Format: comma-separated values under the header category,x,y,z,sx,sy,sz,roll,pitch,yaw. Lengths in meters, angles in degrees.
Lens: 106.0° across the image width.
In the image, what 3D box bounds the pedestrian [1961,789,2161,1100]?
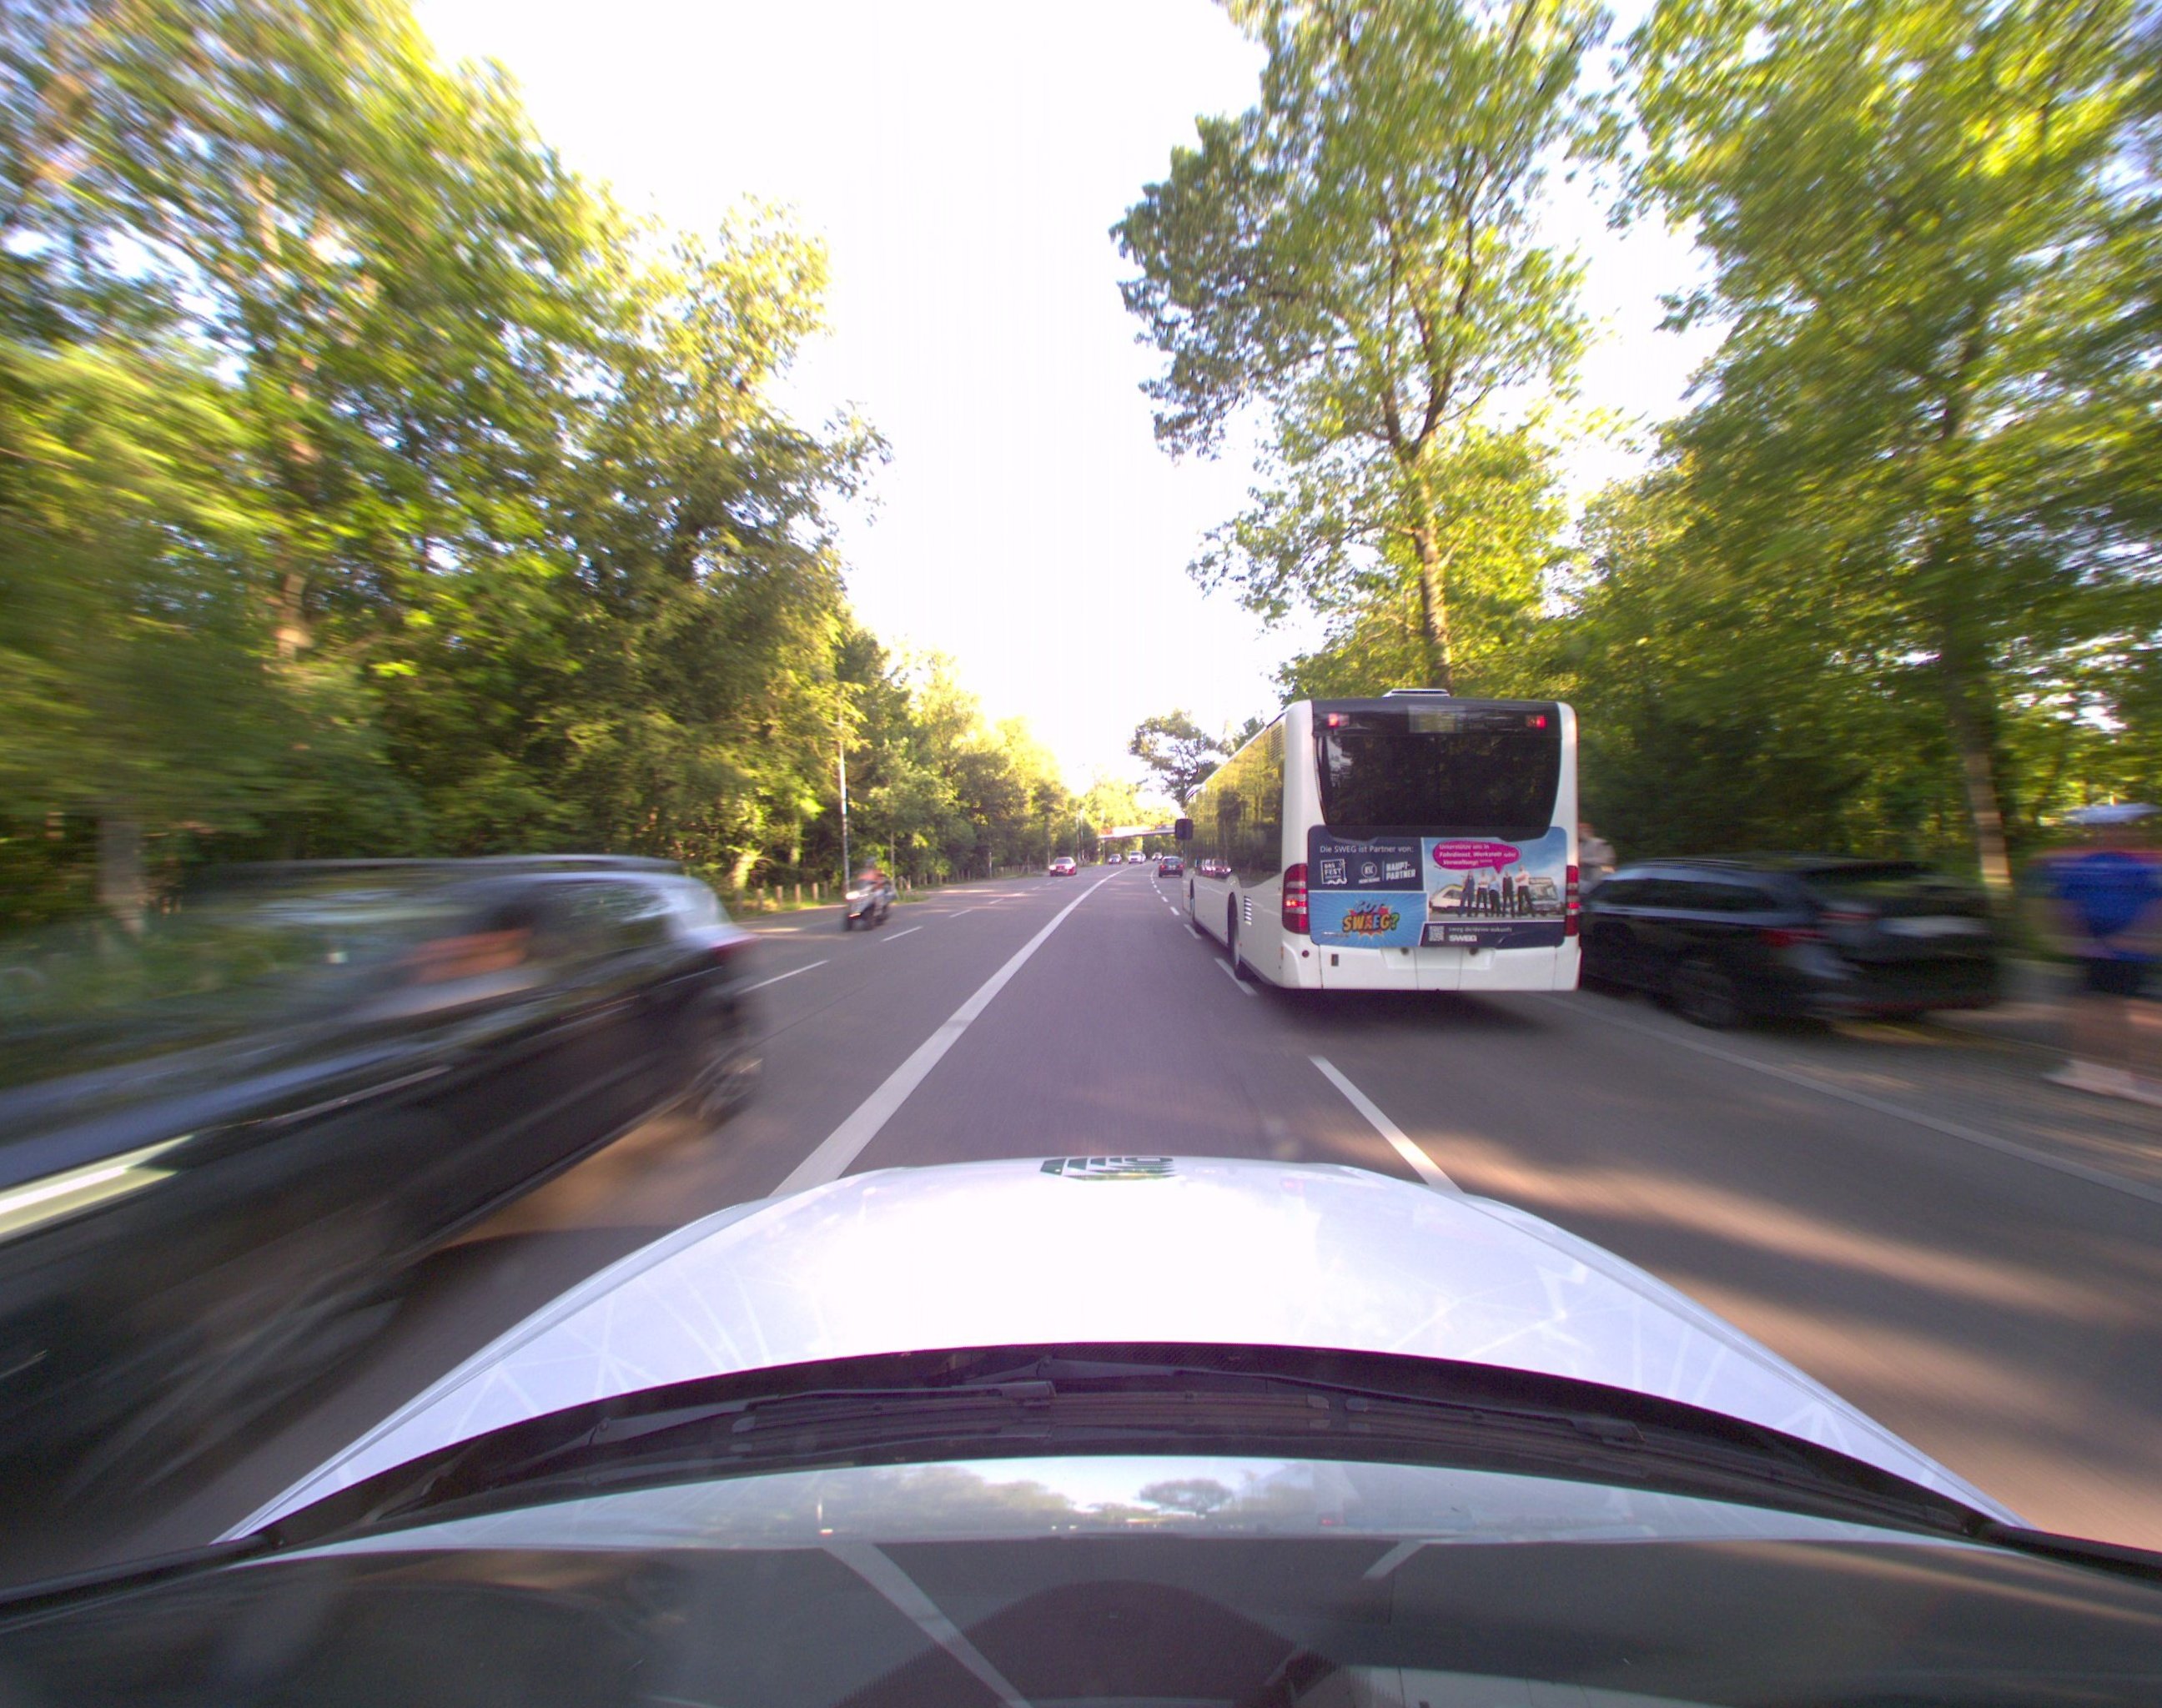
category,x,y,z,sx,sy,sz,roll,pitch,yaw
pedestrian,6.145,0.512,5.041,0.511,1.756,0.733,-3,0,-11

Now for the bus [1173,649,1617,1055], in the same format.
category,x,y,z,sx,sy,sz,roll,pitch,yaw
bus,3.216,0.008,12.730,2.693,3.222,12.287,-1,0,3

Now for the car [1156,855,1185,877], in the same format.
category,x,y,z,sx,sy,sz,roll,pitch,yaw
car,6.150,0.820,56.186,1.721,1.441,4.092,-2,0,3

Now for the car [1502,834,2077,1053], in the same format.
category,x,y,z,sx,sy,sz,roll,pitch,yaw
car,6.220,0.643,8.082,1.845,1.434,4.538,-4,0,3

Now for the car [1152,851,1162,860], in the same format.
category,x,y,z,sx,sy,sz,roll,pitch,yaw
car,15.918,0.349,170.416,1.907,1.704,4.452,-2,0,8

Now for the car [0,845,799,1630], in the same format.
category,x,y,z,sx,sy,sz,roll,pitch,yaw
car,-2.963,0.791,3.600,1.798,1.545,4.092,-2,0,2

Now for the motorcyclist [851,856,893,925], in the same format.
category,x,y,z,sx,sy,sz,roll,pitch,yaw
motorcyclist,-4.833,0.825,18.880,0.653,1.540,0.905,-2,0,1

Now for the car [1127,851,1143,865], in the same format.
category,x,y,z,sx,sy,sz,roll,pitch,yaw
car,8.567,0.665,128.481,2.197,1.960,4.918,-6,-1,4

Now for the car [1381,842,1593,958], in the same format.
category,x,y,z,sx,sy,sz,roll,pitch,yaw
car,6.459,0.659,13.473,1.589,1.522,3.912,-4,0,2

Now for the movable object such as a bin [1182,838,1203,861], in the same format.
category,x,y,z,sx,sy,sz,roll,pitch,yaw
movable object such as a bin,17.147,-0.736,125.940,2.746,3.370,7.610,-2,0,4

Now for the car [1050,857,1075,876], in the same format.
category,x,y,z,sx,sy,sz,roll,pitch,yaw
car,-1.490,0.962,66.087,1.817,1.462,4.925,-2,0,0

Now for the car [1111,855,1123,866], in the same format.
category,x,y,z,sx,sy,sz,roll,pitch,yaw
car,5.637,1.006,127.063,1.792,1.599,4.005,-2,0,4

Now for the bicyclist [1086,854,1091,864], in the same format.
category,x,y,z,sx,sy,sz,roll,pitch,yaw
bicyclist,1.147,0.791,126.165,0.497,1.484,0.762,-4,0,6

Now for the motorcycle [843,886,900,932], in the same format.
category,x,y,z,sx,sy,sz,roll,pitch,yaw
motorcycle,-4.821,1.246,18.909,0.666,0.904,2.168,-2,0,2
